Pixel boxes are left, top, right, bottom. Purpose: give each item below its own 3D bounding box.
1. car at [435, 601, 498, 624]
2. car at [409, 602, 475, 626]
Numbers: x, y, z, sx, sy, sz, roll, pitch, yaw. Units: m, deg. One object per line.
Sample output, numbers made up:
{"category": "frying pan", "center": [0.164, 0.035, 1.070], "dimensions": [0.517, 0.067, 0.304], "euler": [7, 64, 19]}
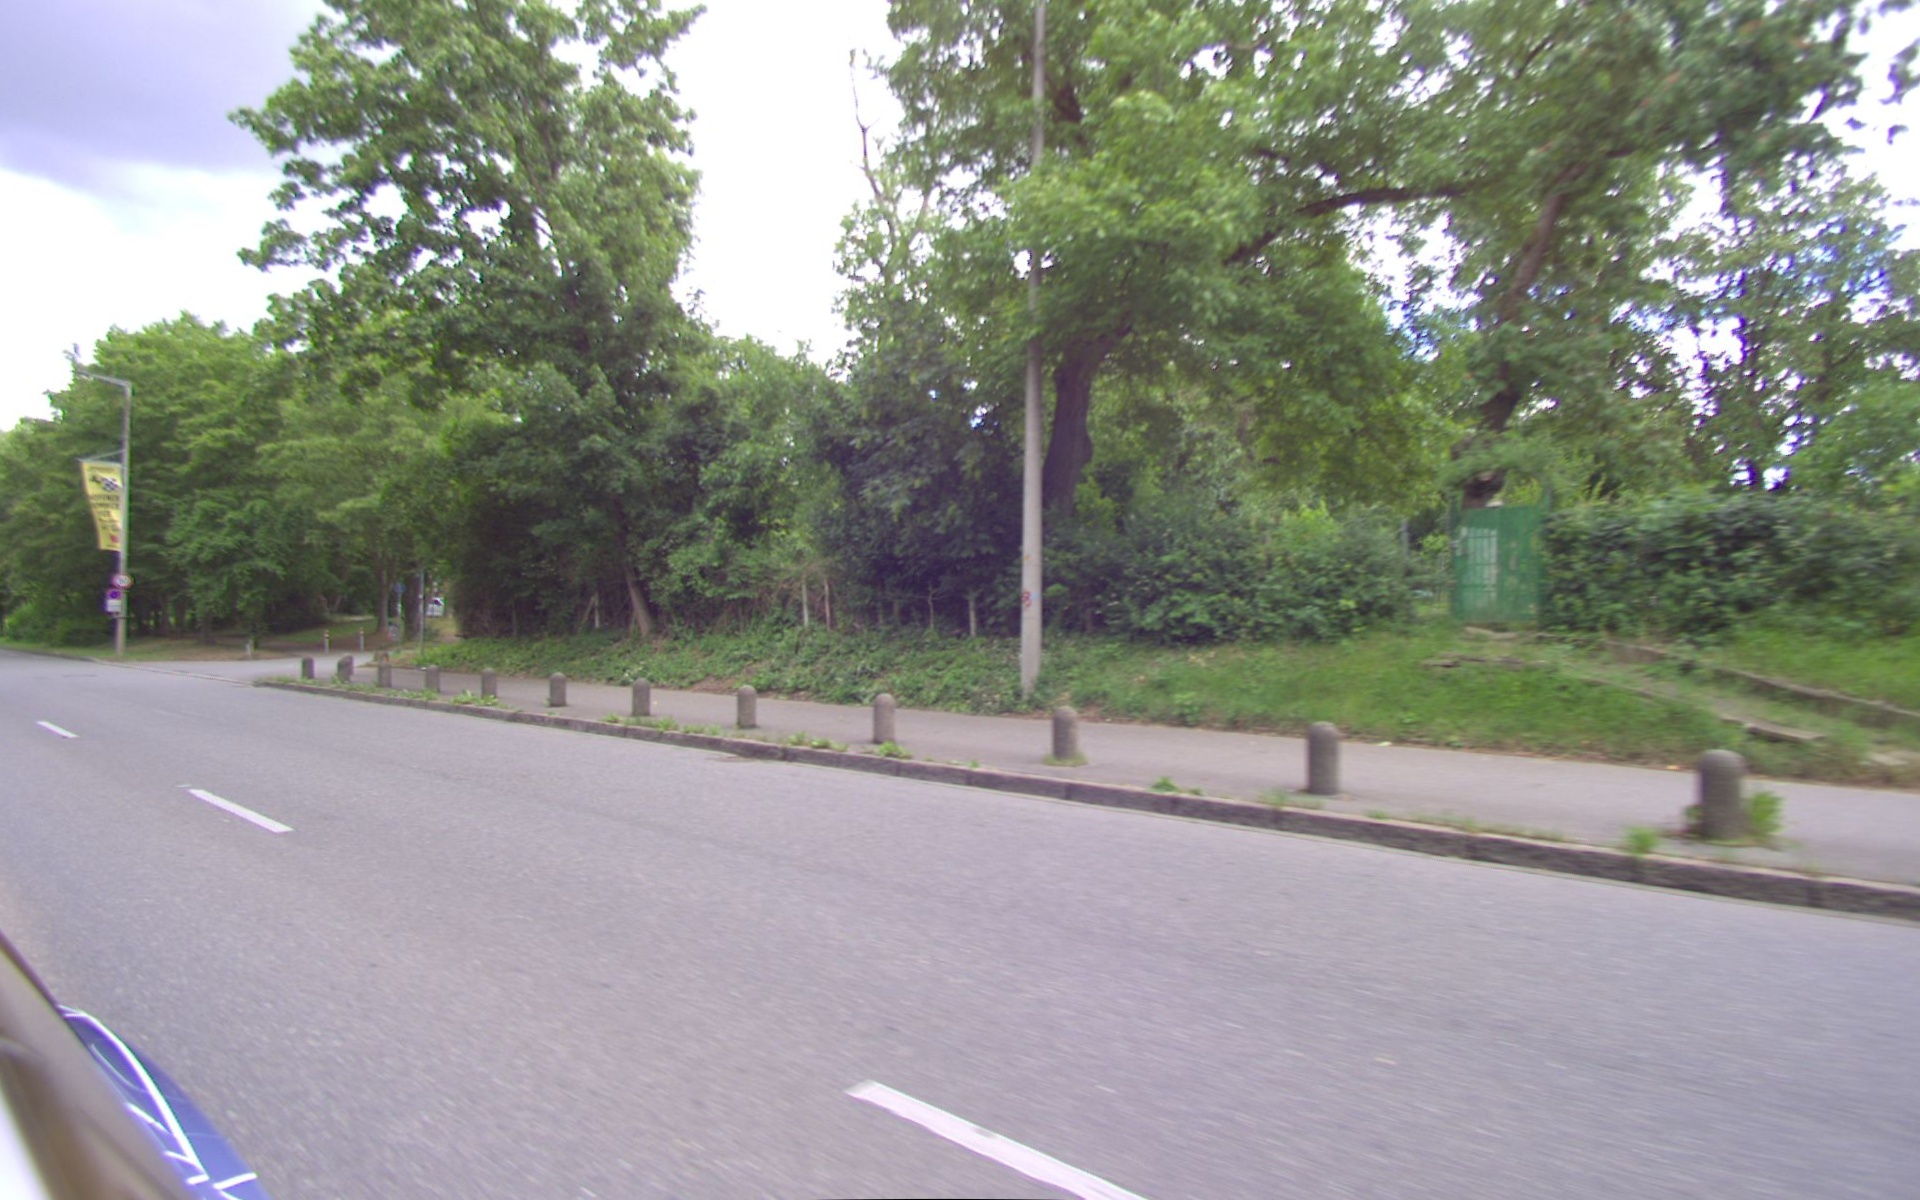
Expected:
{"category": "car", "center": [-34.536, 0.860, 70.847], "dimensions": [3.966, 1.497, 1.642], "euler": [-1, -1, 17]}
{"category": "car", "center": [-34.689, 0.931, 67.797], "dimensions": [3.966, 1.497, 1.642], "euler": [-1, -1, 17]}
